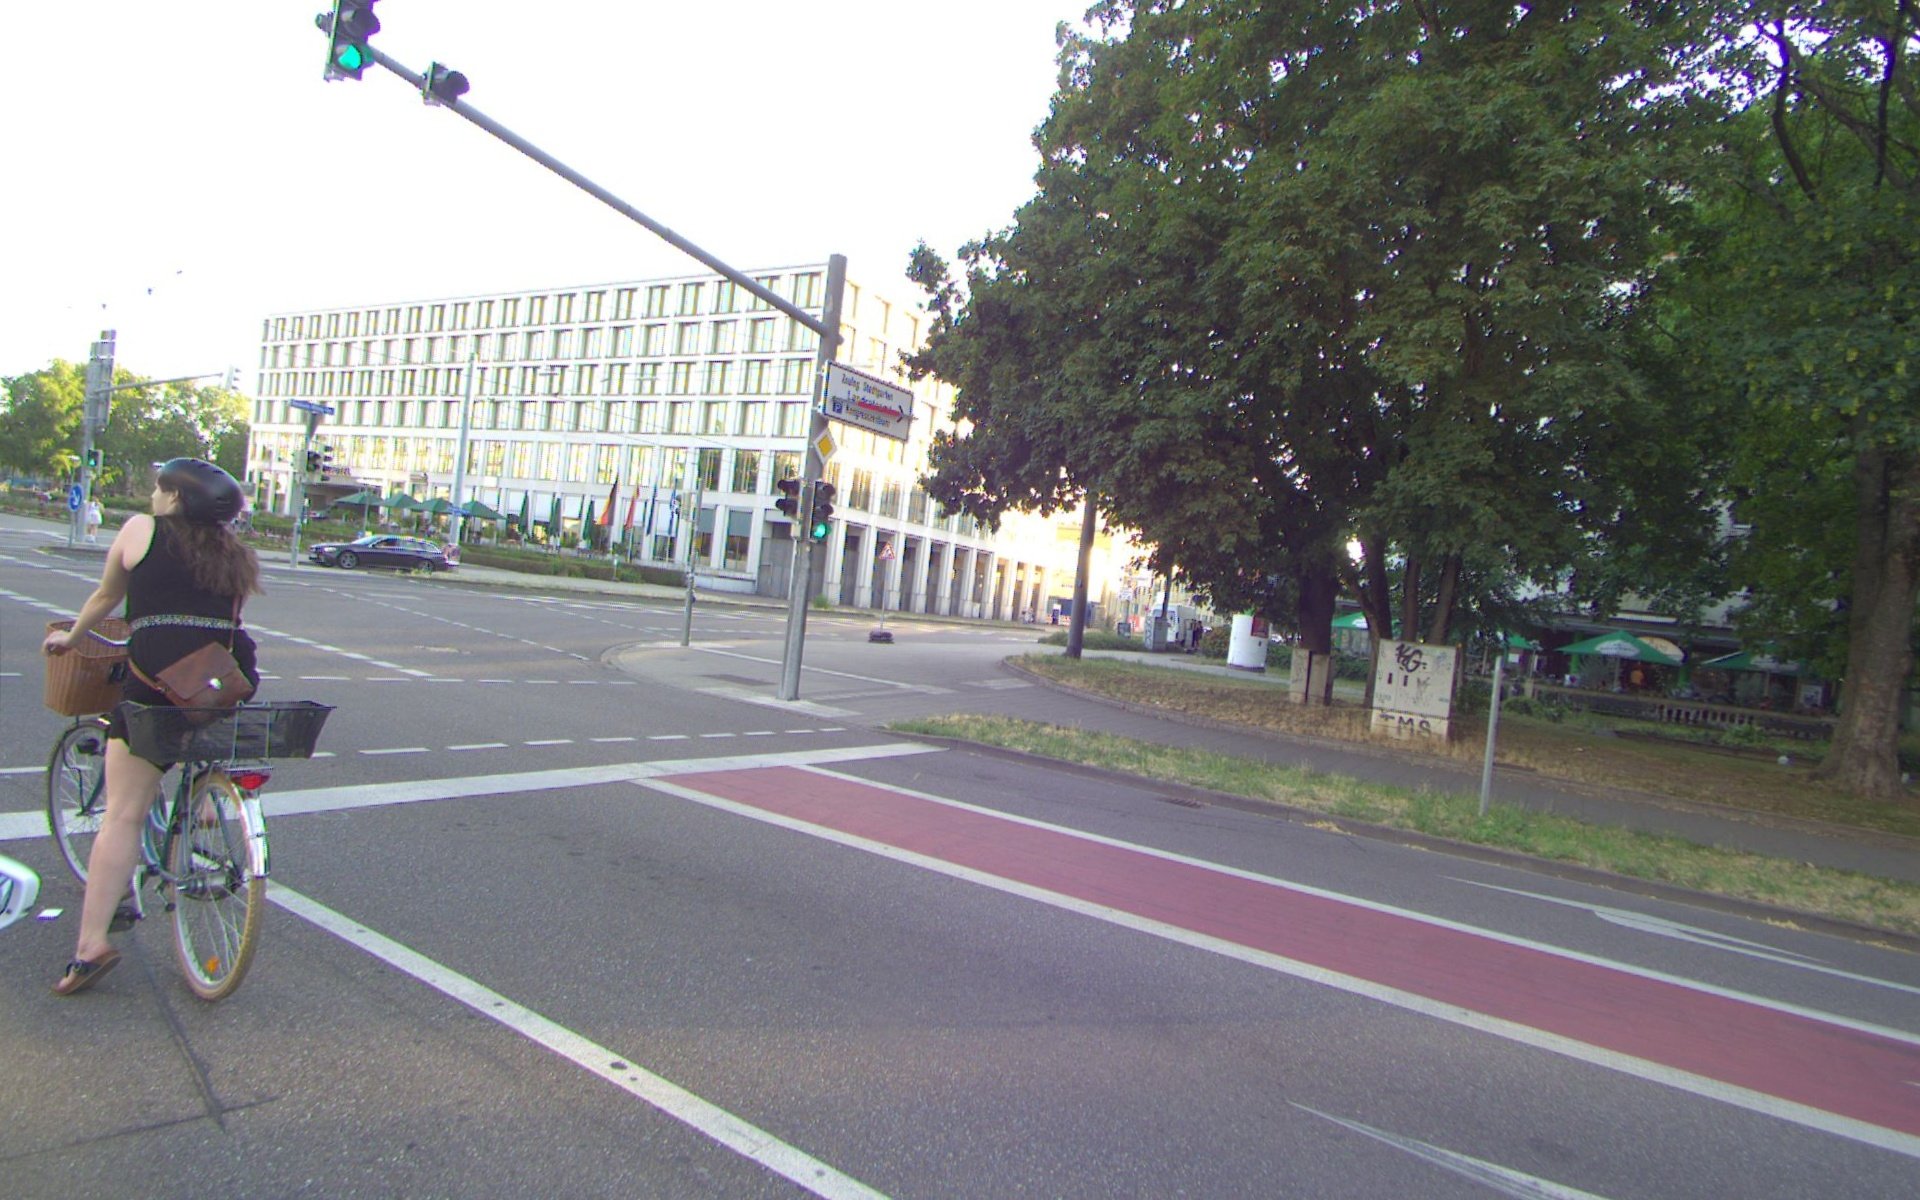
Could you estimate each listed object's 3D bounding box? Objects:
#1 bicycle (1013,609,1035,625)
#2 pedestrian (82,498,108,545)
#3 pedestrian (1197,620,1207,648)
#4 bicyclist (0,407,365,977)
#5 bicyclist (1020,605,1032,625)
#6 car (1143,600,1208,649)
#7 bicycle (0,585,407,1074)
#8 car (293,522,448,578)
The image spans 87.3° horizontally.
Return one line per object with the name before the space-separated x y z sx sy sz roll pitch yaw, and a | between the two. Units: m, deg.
bicycle | 5.214 1.380 81.881 0.592 1.120 2.775 7 0 29
pedestrian | -30.349 -2.754 35.307 0.402 1.559 0.491 7 2 31
pedestrian | 13.448 1.903 55.830 0.302 1.525 0.336 7 -1 31
bicyclist | -2.690 0.244 3.415 0.982 1.655 0.600 7 0 32
bicyclist | 5.422 1.216 82.260 0.567 1.556 0.708 7 1 29
car | 11.961 1.380 55.542 1.967 2.318 4.605 6 0 31
bicycle | -2.820 0.624 3.461 1.971 1.146 0.612 7 -1 32
car | -23.037 -1.916 39.496 1.968 1.534 4.826 7 0 34
